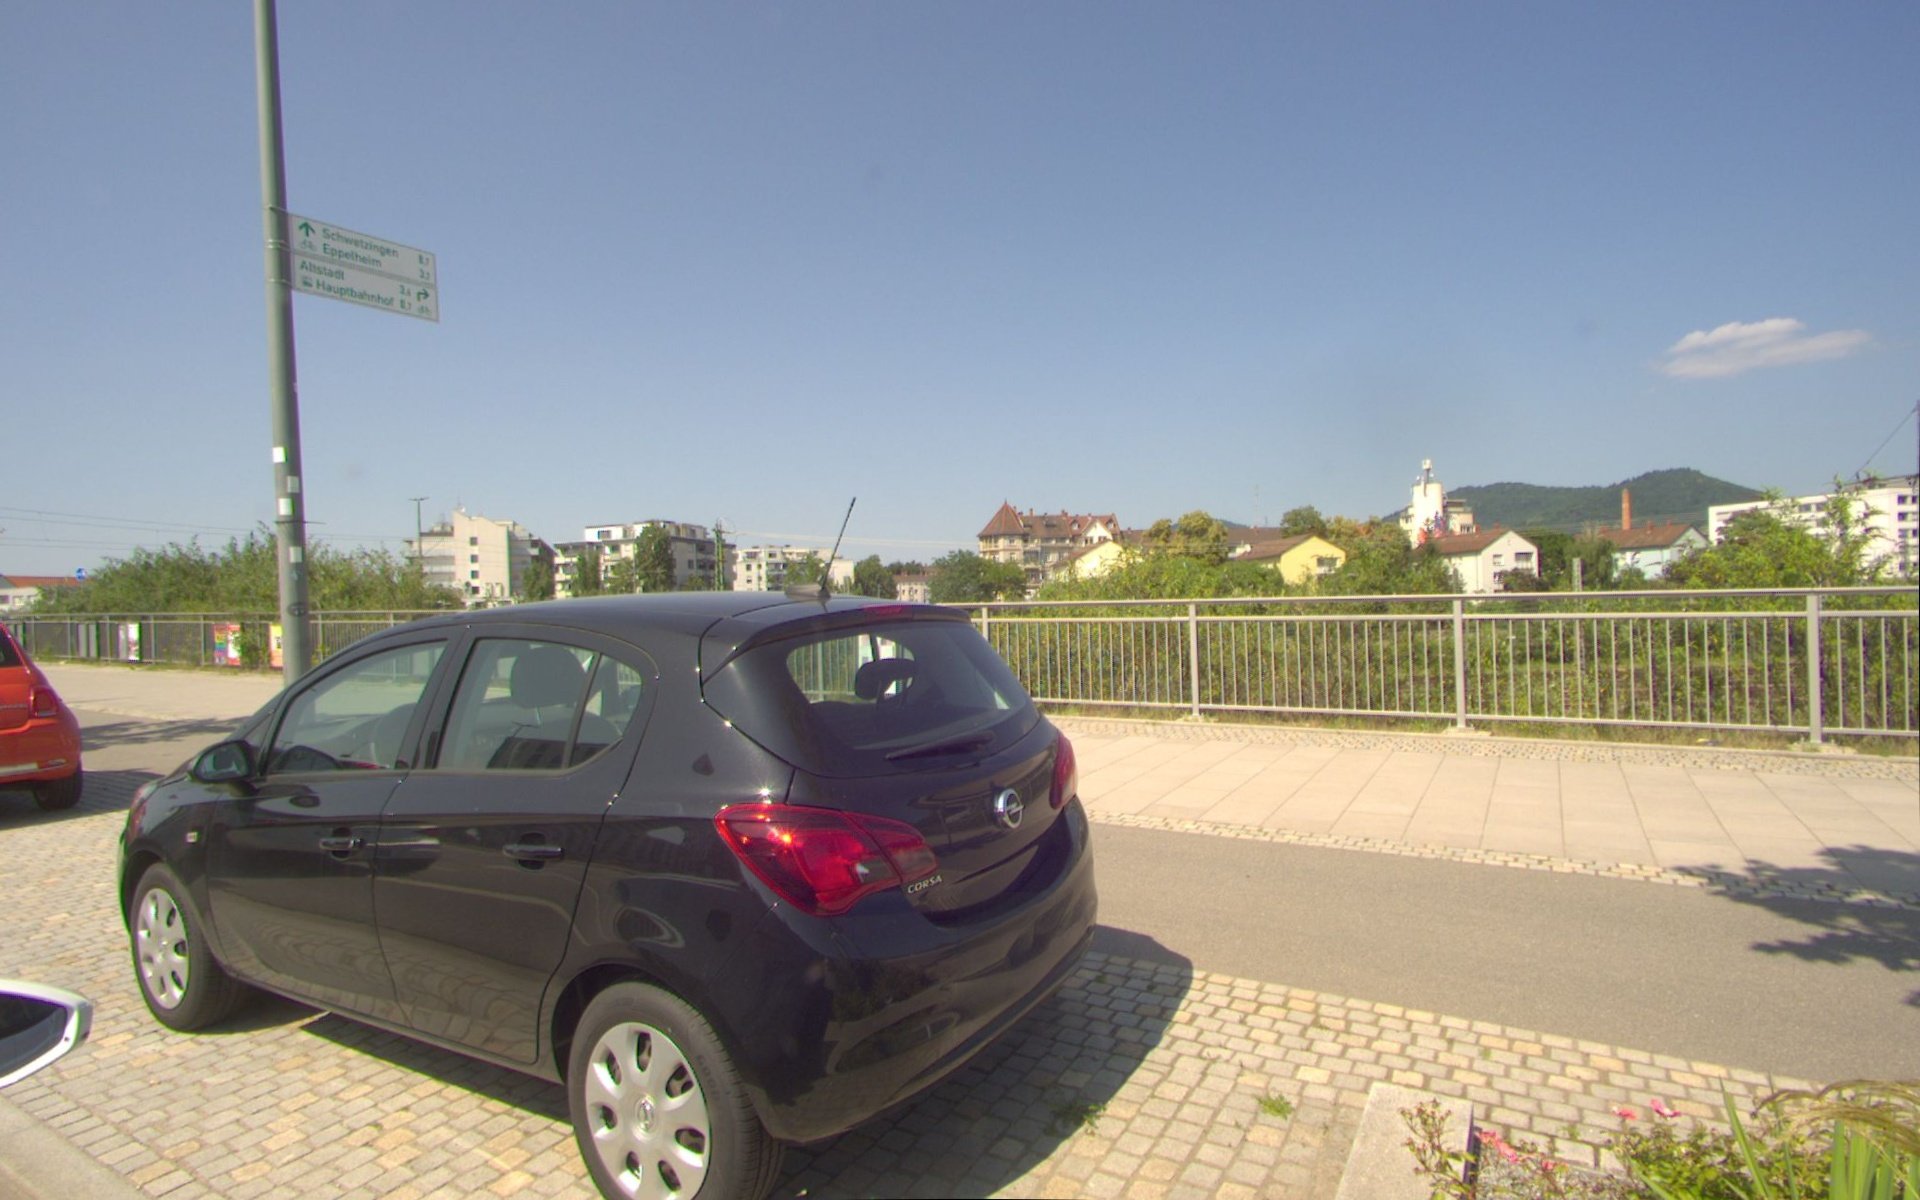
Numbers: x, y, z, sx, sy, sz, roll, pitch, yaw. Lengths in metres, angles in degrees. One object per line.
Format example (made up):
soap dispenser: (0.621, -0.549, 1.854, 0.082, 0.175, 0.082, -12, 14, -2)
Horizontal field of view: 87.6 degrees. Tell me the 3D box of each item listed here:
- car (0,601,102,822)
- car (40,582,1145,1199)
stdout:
car: (-8.157, 0.803, 7.614, 3.305, 1.517, 1.605, -1, 2, 34)
car: (-1.510, 0.725, 3.610, 3.943, 1.445, 1.656, -1, 1, 32)
